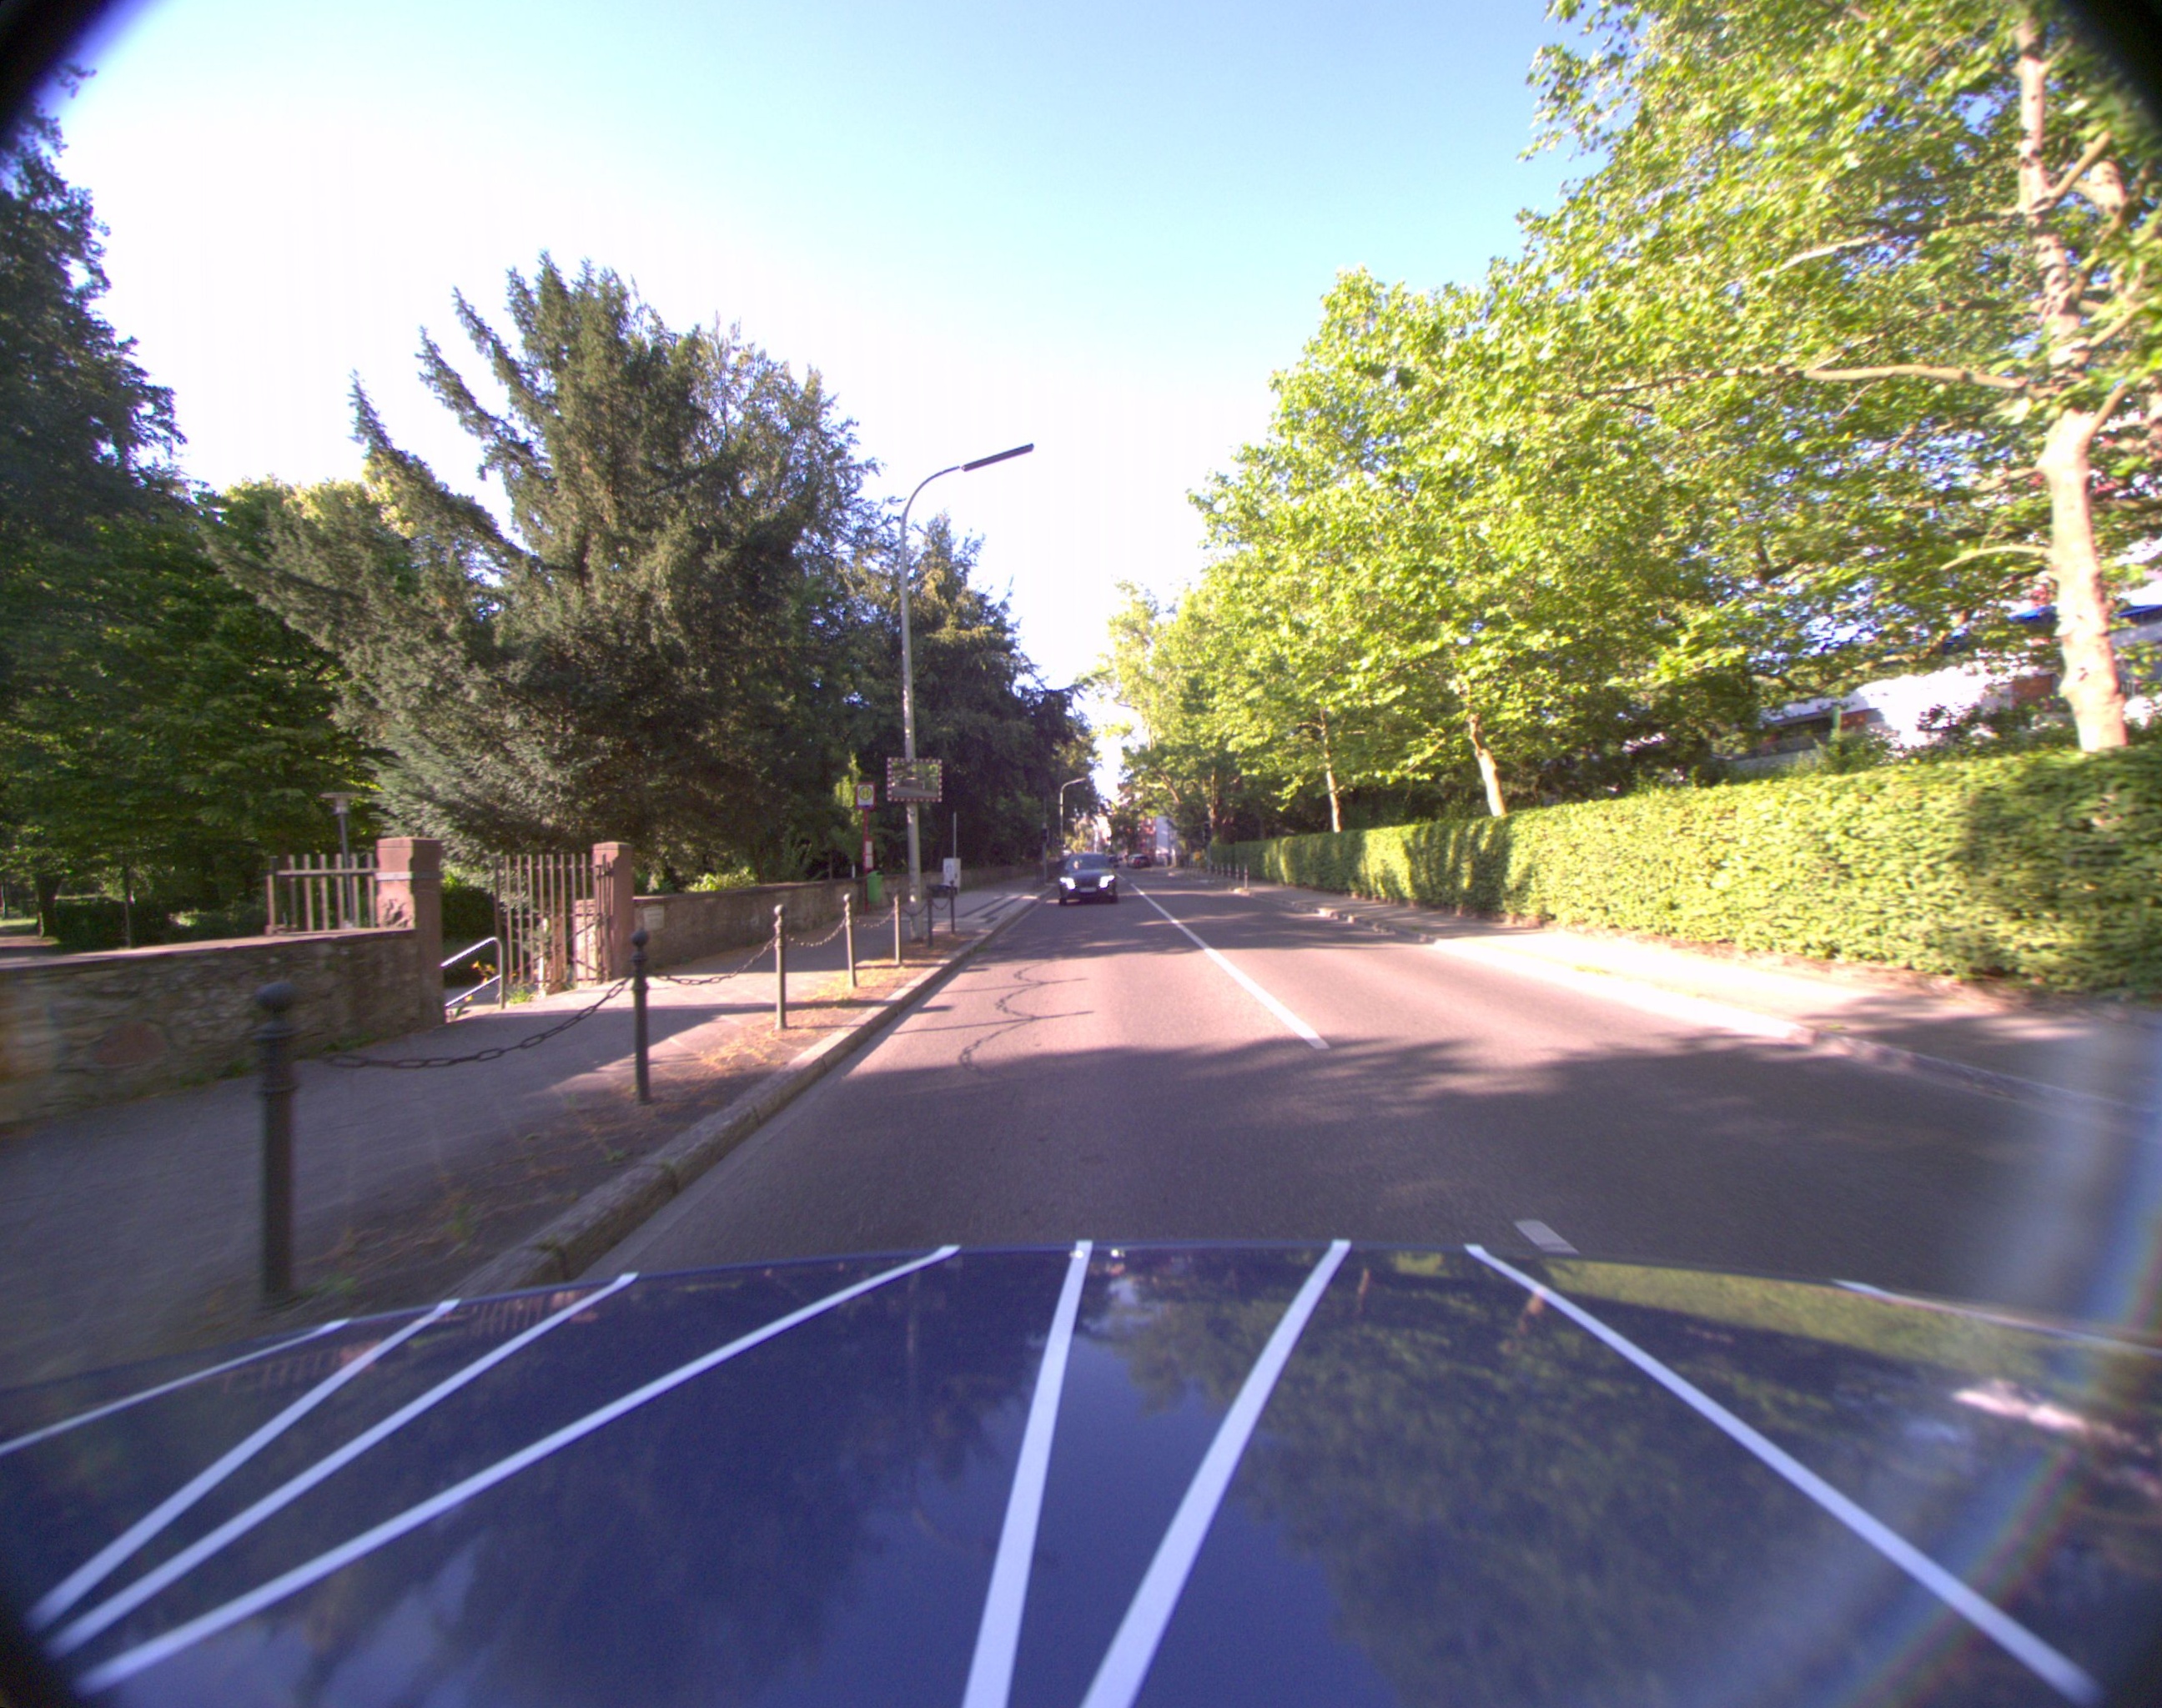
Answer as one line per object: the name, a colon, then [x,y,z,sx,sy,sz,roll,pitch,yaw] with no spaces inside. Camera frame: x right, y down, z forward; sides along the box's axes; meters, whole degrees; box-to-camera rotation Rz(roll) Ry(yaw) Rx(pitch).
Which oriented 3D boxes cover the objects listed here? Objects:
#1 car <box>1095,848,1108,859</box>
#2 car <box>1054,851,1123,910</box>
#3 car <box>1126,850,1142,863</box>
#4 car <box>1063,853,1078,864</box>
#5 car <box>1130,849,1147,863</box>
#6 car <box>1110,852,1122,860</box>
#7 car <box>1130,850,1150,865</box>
car: [3.672,-0.030,137.926,1.999,1.957,4.776,0,0,-2]
car: [0.344,0.769,24.452,1.936,1.676,4.433,-2,0,4]
car: [6.360,0.294,91.251,1.628,1.426,3.559,-3,0,-1]
car: [-1.408,0.560,99.577,1.824,1.375,3.933,1,1,-4]
car: [6.540,0.250,86.424,1.628,1.537,3.322,-2,0,0]
car: [6.347,0.395,137.806,1.824,1.375,3.933,1,1,-4]
car: [6.263,0.373,81.214,1.689,1.425,3.616,-5,0,0]
